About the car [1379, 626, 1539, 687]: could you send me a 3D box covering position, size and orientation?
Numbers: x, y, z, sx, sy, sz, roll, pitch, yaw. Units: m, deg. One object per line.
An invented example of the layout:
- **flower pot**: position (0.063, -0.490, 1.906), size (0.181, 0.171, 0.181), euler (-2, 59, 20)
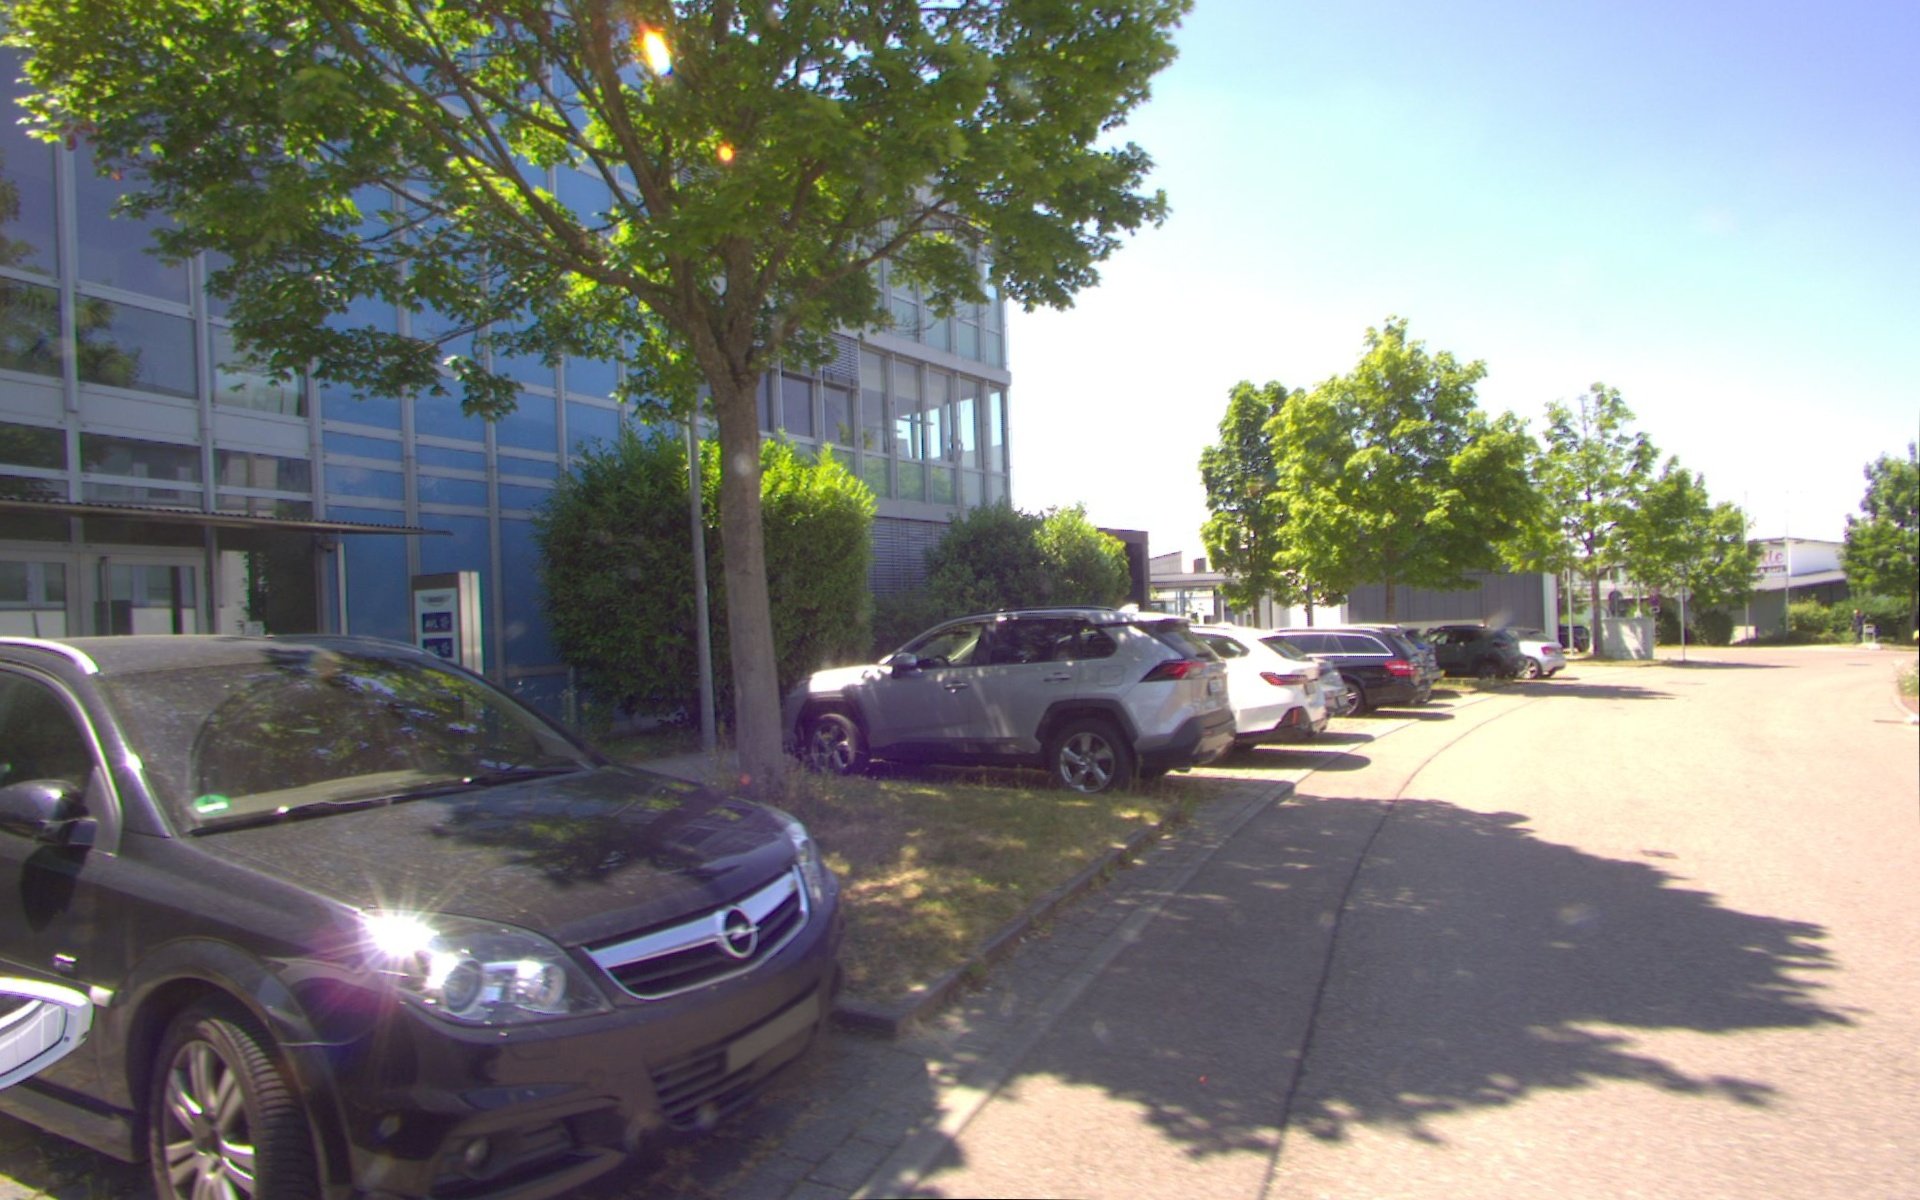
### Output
- **car**: position (13.414, 1.476, 27.045), size (1.620, 1.545, 3.555), euler (1, -2, -44)

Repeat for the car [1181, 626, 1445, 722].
- **car**: position (6.150, 1.220, 17.638), size (4.123, 1.505, 1.651), euler (-1, -2, 36)

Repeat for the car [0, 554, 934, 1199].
- **car**: position (-2.490, 0.795, 3.559), size (4.493, 1.569, 1.758), euler (-2, -2, 26)

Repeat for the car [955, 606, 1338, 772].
- **car**: position (2.147, 0.938, 11.774), size (4.138, 1.664, 1.654), euler (-1, -1, 28)

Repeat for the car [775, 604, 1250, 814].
- **car**: position (0.469, 0.908, 9.766), size (4.265, 1.664, 1.850), euler (-1, -1, 28)

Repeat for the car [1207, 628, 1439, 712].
- **car**: position (7.120, 1.307, 19.747), size (4.114, 1.505, 1.654), euler (-1, -1, 29)

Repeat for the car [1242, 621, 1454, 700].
- **car**: position (8.614, 1.287, 22.433), size (4.132, 1.625, 1.647), euler (-1, -2, 42)

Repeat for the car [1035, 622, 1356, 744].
- **car**: position (3.268, 1.067, 14.051), size (4.113, 1.505, 1.654), euler (-1, -1, 28)

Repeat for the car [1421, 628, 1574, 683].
- **car**: position (15.256, 1.535, 28.520), size (1.620, 1.461, 3.555), euler (1, -2, -44)
